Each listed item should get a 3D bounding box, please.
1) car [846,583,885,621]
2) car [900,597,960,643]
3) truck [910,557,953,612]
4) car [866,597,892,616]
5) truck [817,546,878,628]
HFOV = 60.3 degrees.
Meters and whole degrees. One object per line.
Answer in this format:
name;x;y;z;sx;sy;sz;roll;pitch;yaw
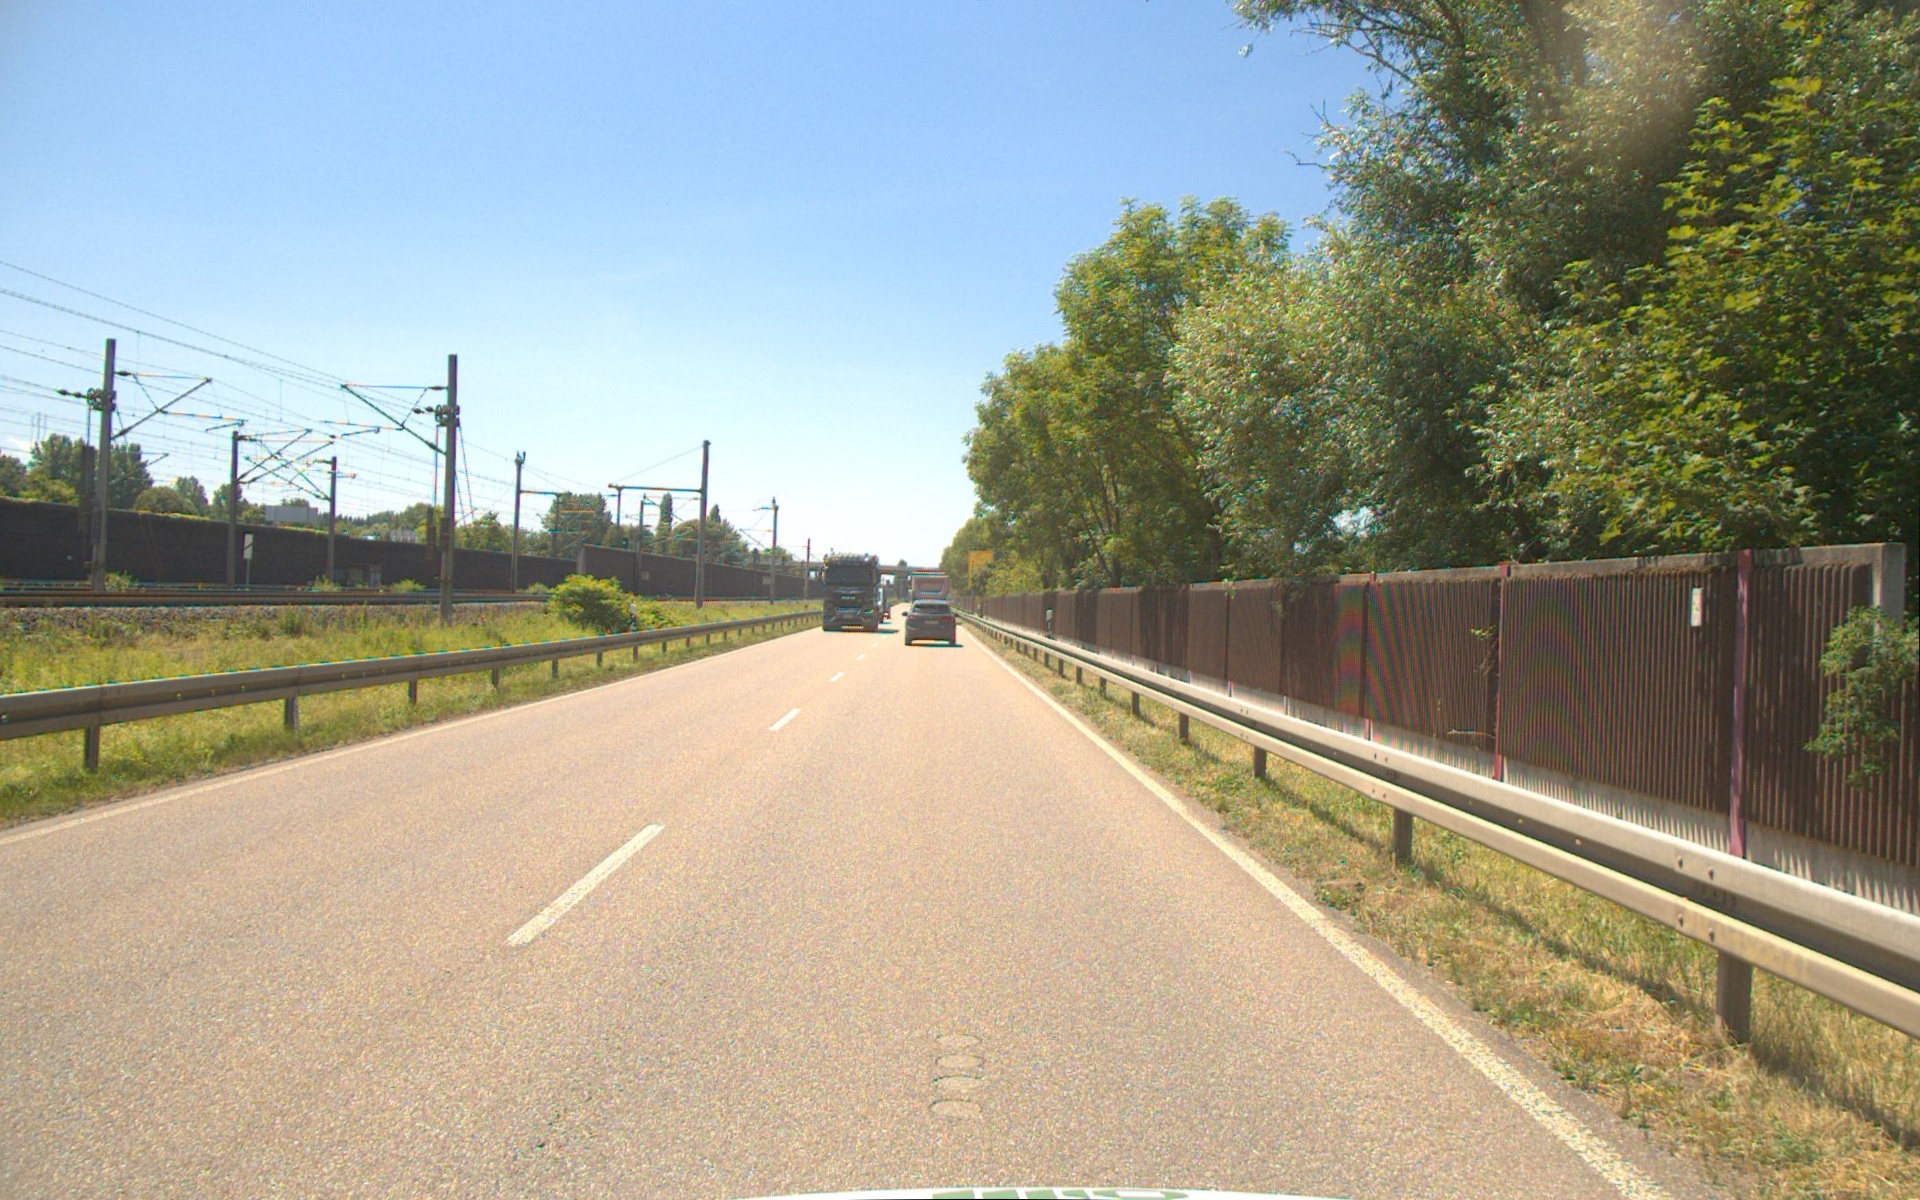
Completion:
car;-6.156;0.134;108.444;2.215;2.327;6.235;1;0;0
car;-1.107;0.664;58.362;1.954;1.534;3.997;1;0;-3
truck;-1.938;-1.018;112.292;2.714;3.485;10.816;1;0;-1
car;-6.549;0.513;134.338;1.935;1.534;4.161;1;0;-1
truck;-5.457;-0.628;81.743;2.605;3.690;10.973;1;0;-2
